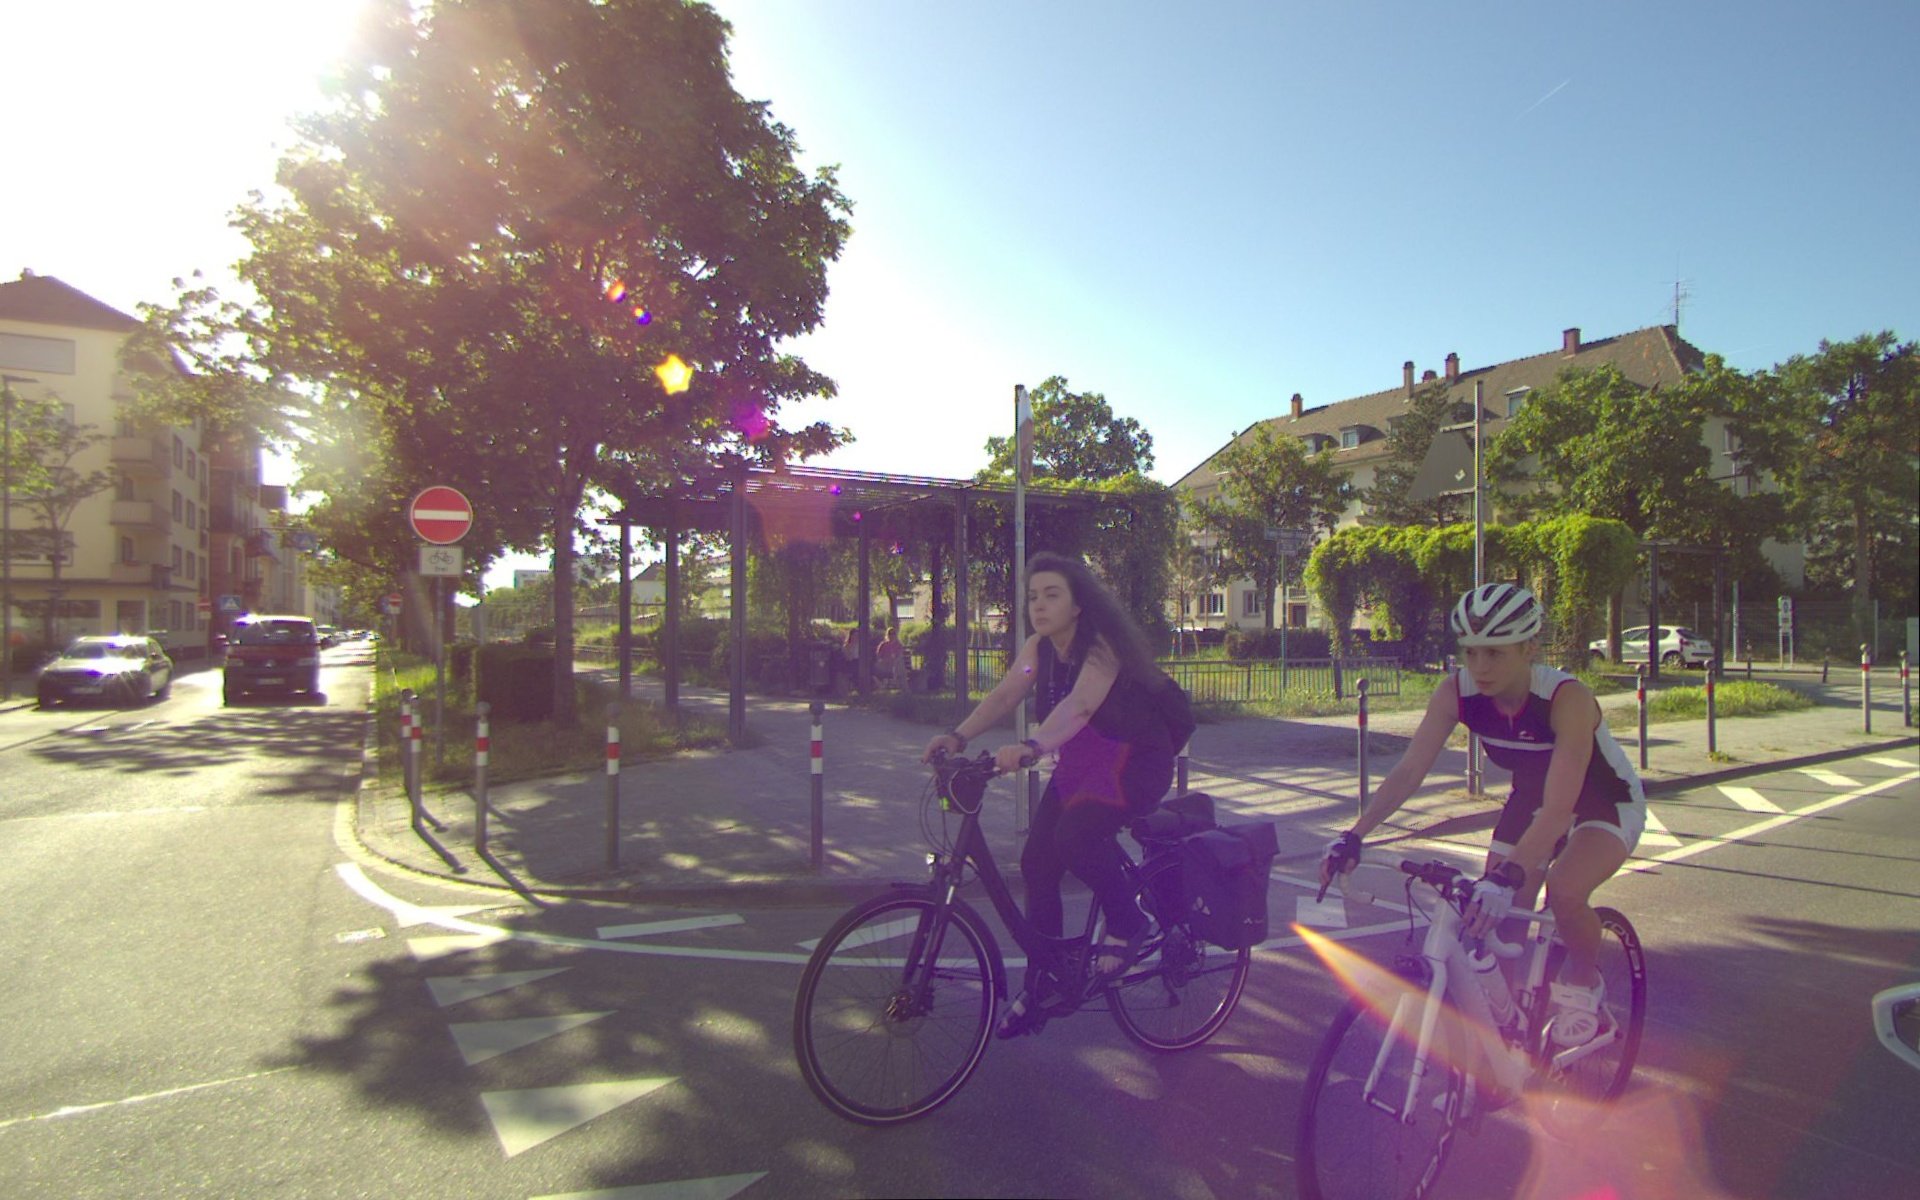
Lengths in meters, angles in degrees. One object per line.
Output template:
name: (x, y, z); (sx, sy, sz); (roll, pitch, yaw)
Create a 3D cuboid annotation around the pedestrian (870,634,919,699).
pedestrian: (-1.207, 1.208, 18.404); (0.592, 1.154, 0.868); (0, -2, -30)

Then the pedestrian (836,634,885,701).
pedestrian: (-1.793, 1.202, 18.074); (0.592, 1.165, 0.839); (0, -2, -30)

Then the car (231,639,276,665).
car: (-35.861, 2.613, 51.025); (1.663, 1.278, 3.768); (0, -2, -32)

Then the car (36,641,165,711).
car: (-19.618, 1.697, 23.085); (1.664, 1.434, 3.869); (5, -4, -33)

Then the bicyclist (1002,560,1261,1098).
bicyclist: (0.583, 0.711, 3.521); (0.629, 1.641, 0.640); (1, -2, -30)

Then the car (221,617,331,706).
car: (-16.963, 1.500, 25.110); (1.875, 1.986, 4.847); (3, -3, -30)

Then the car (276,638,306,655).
car: (-47.614, 3.262, 71.512); (1.663, 1.147, 3.716); (1, -2, -32)

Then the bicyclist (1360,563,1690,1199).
bicyclist: (1.490, 0.670, 2.658); (0.680, 1.483, 0.493); (1, -2, -34)

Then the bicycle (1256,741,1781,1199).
bicycle: (1.564, 1.011, 2.699); (1.691, 1.103, 0.502); (1, -2, -34)

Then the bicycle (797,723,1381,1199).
bicycle: (0.511, 1.062, 3.472); (2.041, 1.123, 0.640); (1, -2, -30)

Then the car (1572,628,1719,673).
car: (23.053, 1.681, 33.909); (1.687, 1.416, 3.746); (2, -3, -31)
